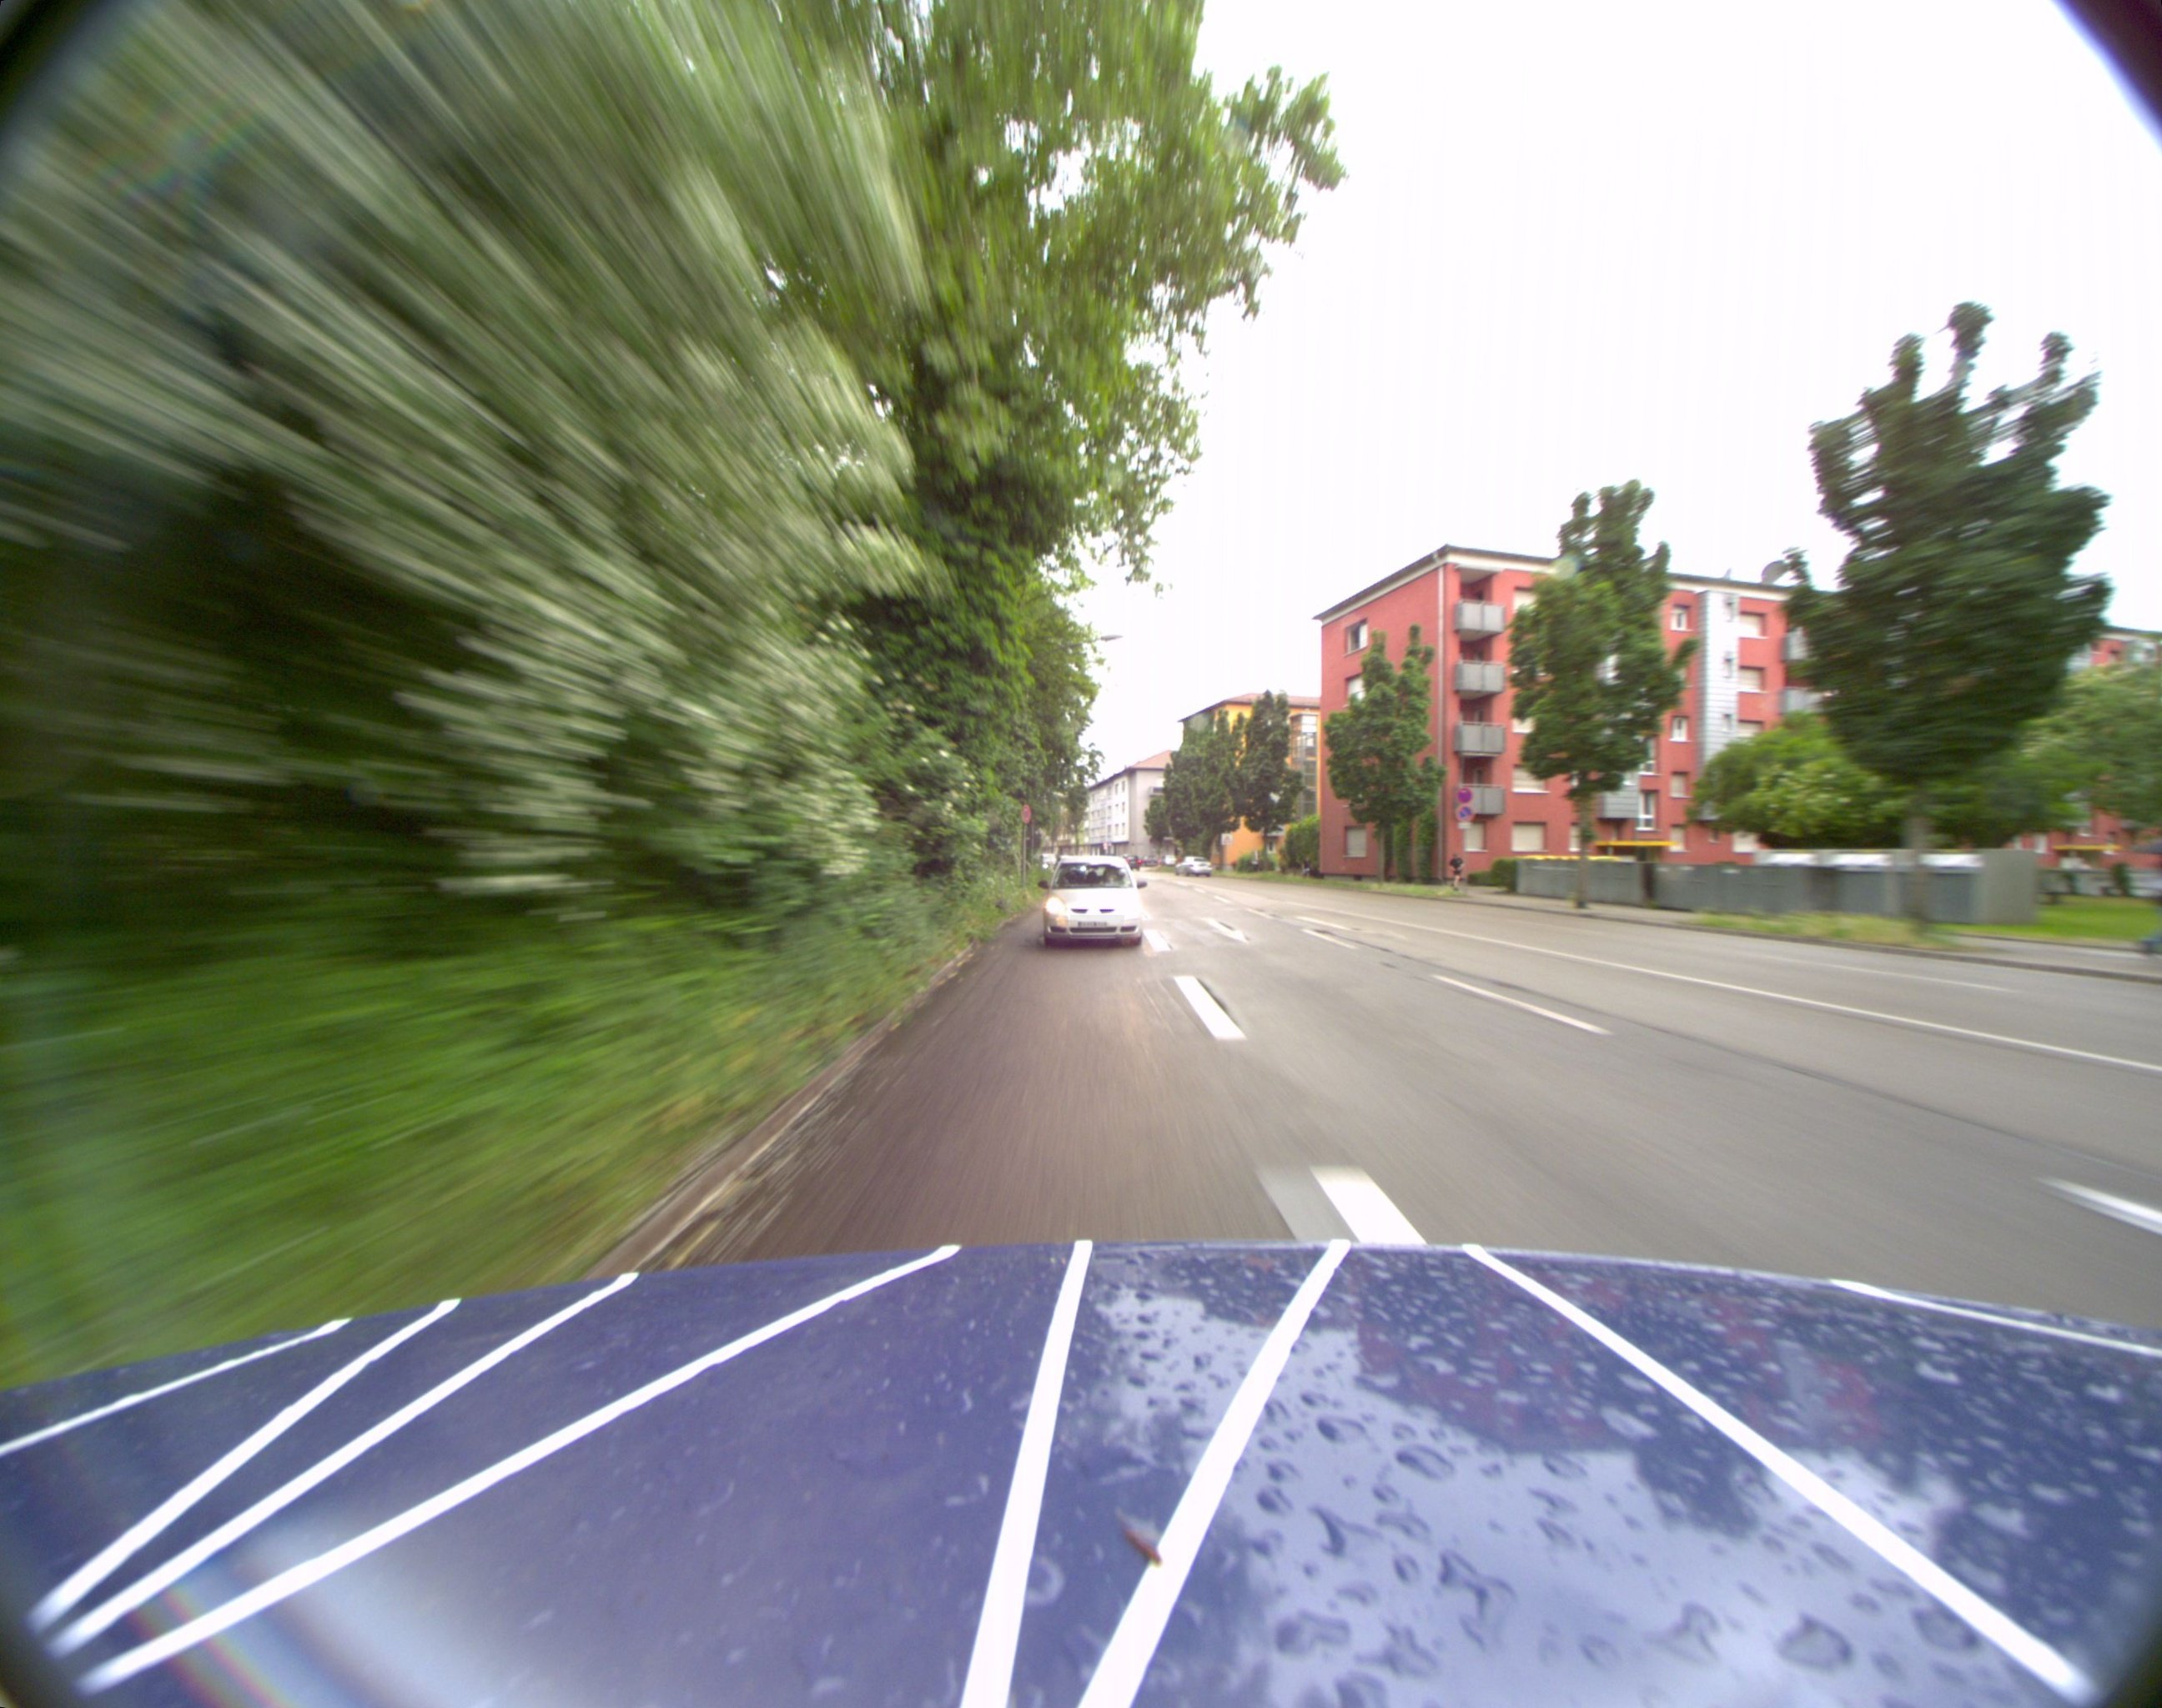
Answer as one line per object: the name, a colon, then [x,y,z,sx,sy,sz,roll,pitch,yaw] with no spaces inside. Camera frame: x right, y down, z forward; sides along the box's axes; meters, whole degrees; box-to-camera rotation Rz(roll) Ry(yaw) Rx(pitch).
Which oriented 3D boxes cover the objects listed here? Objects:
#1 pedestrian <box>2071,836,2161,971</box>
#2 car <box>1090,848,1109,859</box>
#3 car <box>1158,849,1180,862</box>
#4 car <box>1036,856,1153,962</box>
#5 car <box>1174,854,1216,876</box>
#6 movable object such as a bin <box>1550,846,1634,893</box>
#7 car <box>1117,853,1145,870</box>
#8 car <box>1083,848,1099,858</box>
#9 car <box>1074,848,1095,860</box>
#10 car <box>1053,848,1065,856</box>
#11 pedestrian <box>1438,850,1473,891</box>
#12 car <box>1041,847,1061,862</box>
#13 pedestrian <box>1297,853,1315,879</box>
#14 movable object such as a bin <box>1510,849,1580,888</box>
pedestrian: [14.880,0.659,10.343,1.137,1.793,1.262,0,1,-3]
car: [2.588,-0.073,108.296,1.853,1.536,4.243,-2,1,-10]
car: [11.458,0.175,98.997,1.736,1.516,4.224,1,1,-10]
car: [0.228,0.833,13.502,1.755,1.586,4.169,0,0,1]
car: [8.181,0.767,54.773,1.879,1.382,4.624,2,0,-5]
movable object such as a bin: [16.693,0.483,24.915,1.219,1.476,2.086,0,0,-5]
car: [4.991,0.738,76.914,1.880,1.593,4.460,2,0,-8]
car: [1.474,-0.136,113.667,1.728,1.376,3.922,1,0,-11]
car: [0.372,-0.020,88.218,1.847,1.377,4.356,2,0,-8]
car: [-3.954,-0.386,137.826,1.549,1.369,3.444,1,0,-11]
pedestrian: [14.303,0.615,29.039,0.694,1.508,1.068,1,1,-8]
car: [-3.218,0.042,80.490,1.737,1.590,3.996,0,1,-9]
pedestrian: [12.962,0.687,43.843,0.673,1.441,0.835,1,1,-9]
movable object such as a bin: [16.501,0.496,27.084,1.161,1.324,1.965,0,0,-5]
